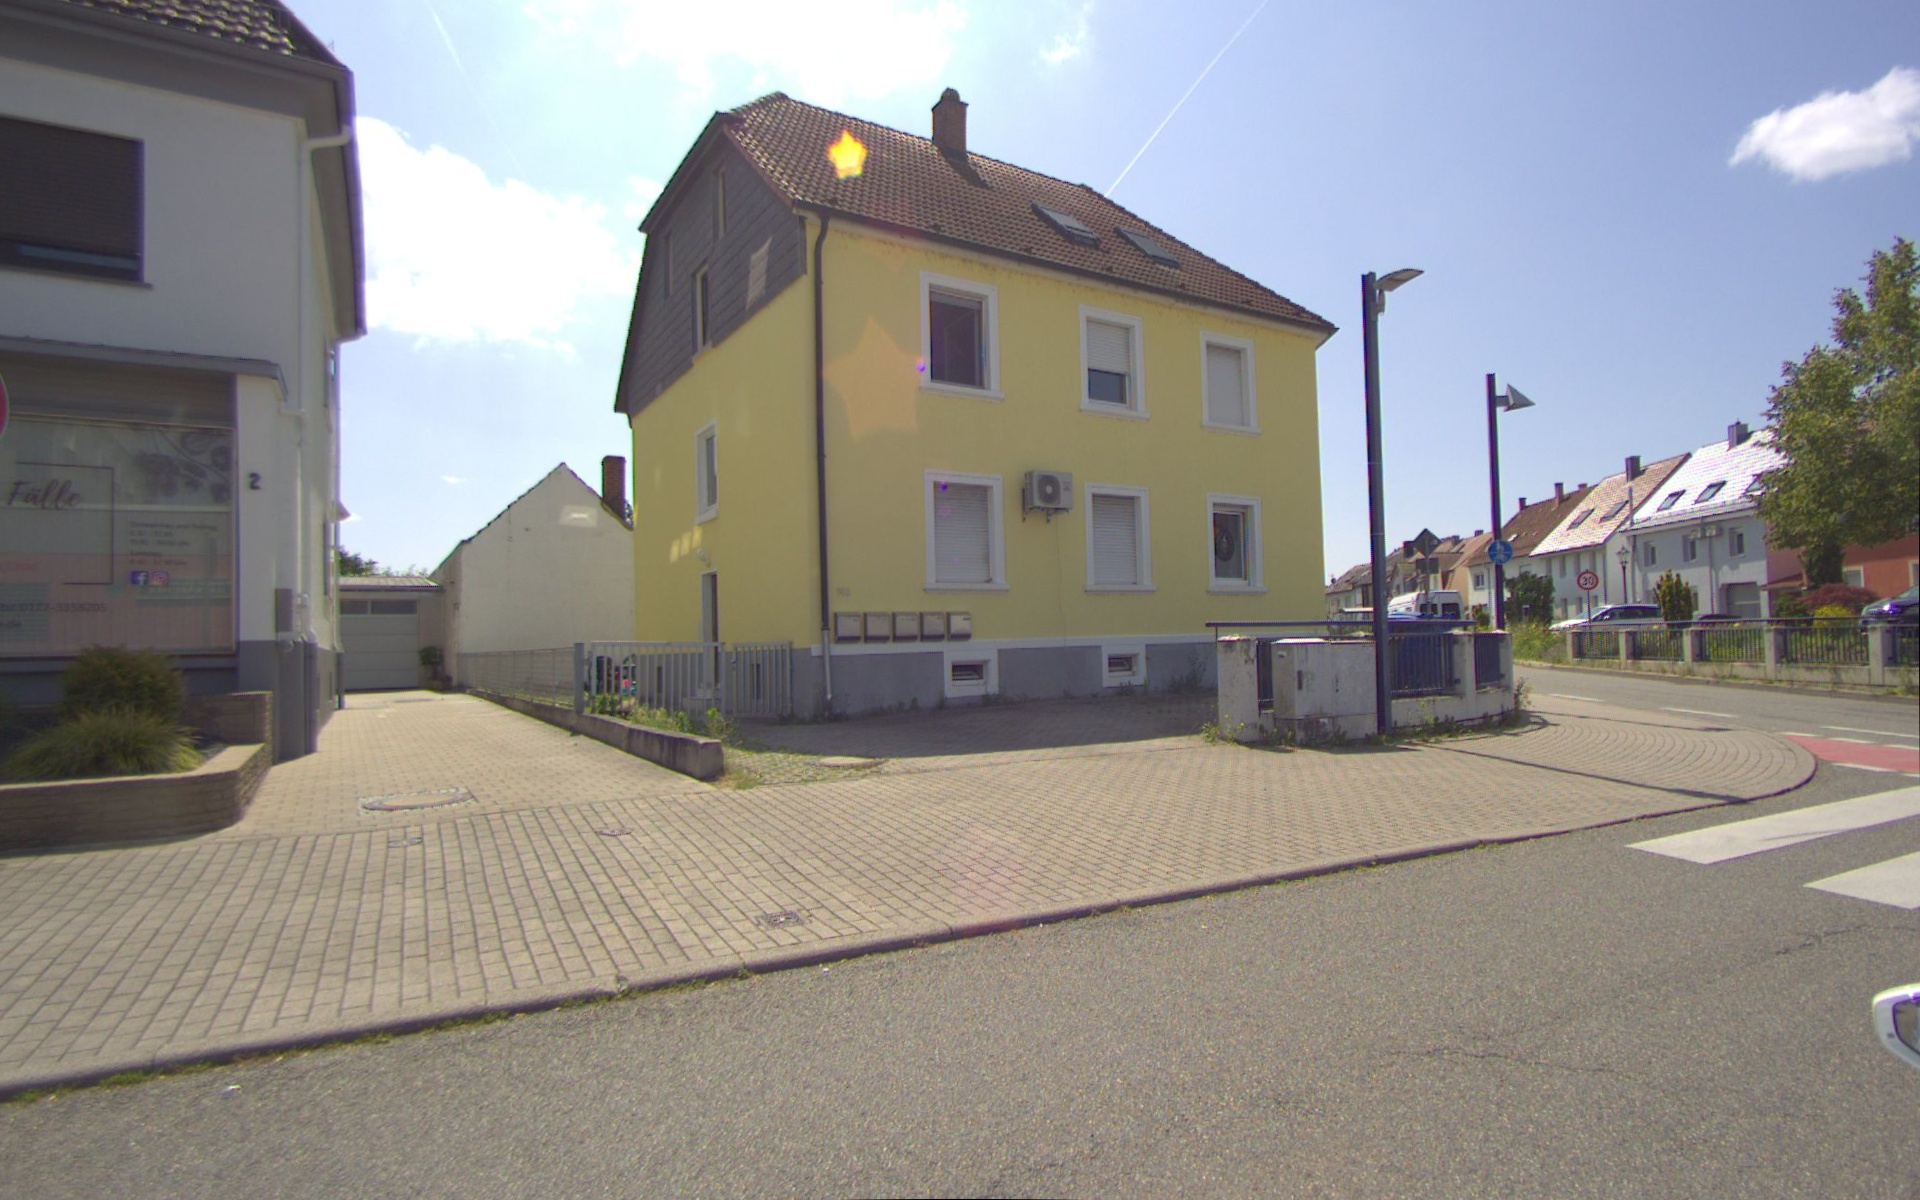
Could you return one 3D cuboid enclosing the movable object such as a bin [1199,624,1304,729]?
[{"bbox_3d":[3.617,0.927,12.502,0.891,1.241,0.882,0,-2,-28],"label":"movable object such as a bin"}]

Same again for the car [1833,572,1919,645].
[{"bbox_3d":[22.629,0.207,23.102,3.540,1.608,1.872,1,1,-4],"label":"car"}]

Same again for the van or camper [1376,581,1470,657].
[{"bbox_3d":[17.720,0.709,38.711,1.964,2.665,5.397,2,0,11],"label":"van or camper"}]

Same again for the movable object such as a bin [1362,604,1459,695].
[{"bbox_3d":[6.419,0.694,14.305,1.267,1.229,0.832,1,-2,-43],"label":"movable object such as a bin"}]

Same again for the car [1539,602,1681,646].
[{"bbox_3d":[24.489,0.894,37.962,4.171,1.508,1.748,1,1,3],"label":"car"}]
